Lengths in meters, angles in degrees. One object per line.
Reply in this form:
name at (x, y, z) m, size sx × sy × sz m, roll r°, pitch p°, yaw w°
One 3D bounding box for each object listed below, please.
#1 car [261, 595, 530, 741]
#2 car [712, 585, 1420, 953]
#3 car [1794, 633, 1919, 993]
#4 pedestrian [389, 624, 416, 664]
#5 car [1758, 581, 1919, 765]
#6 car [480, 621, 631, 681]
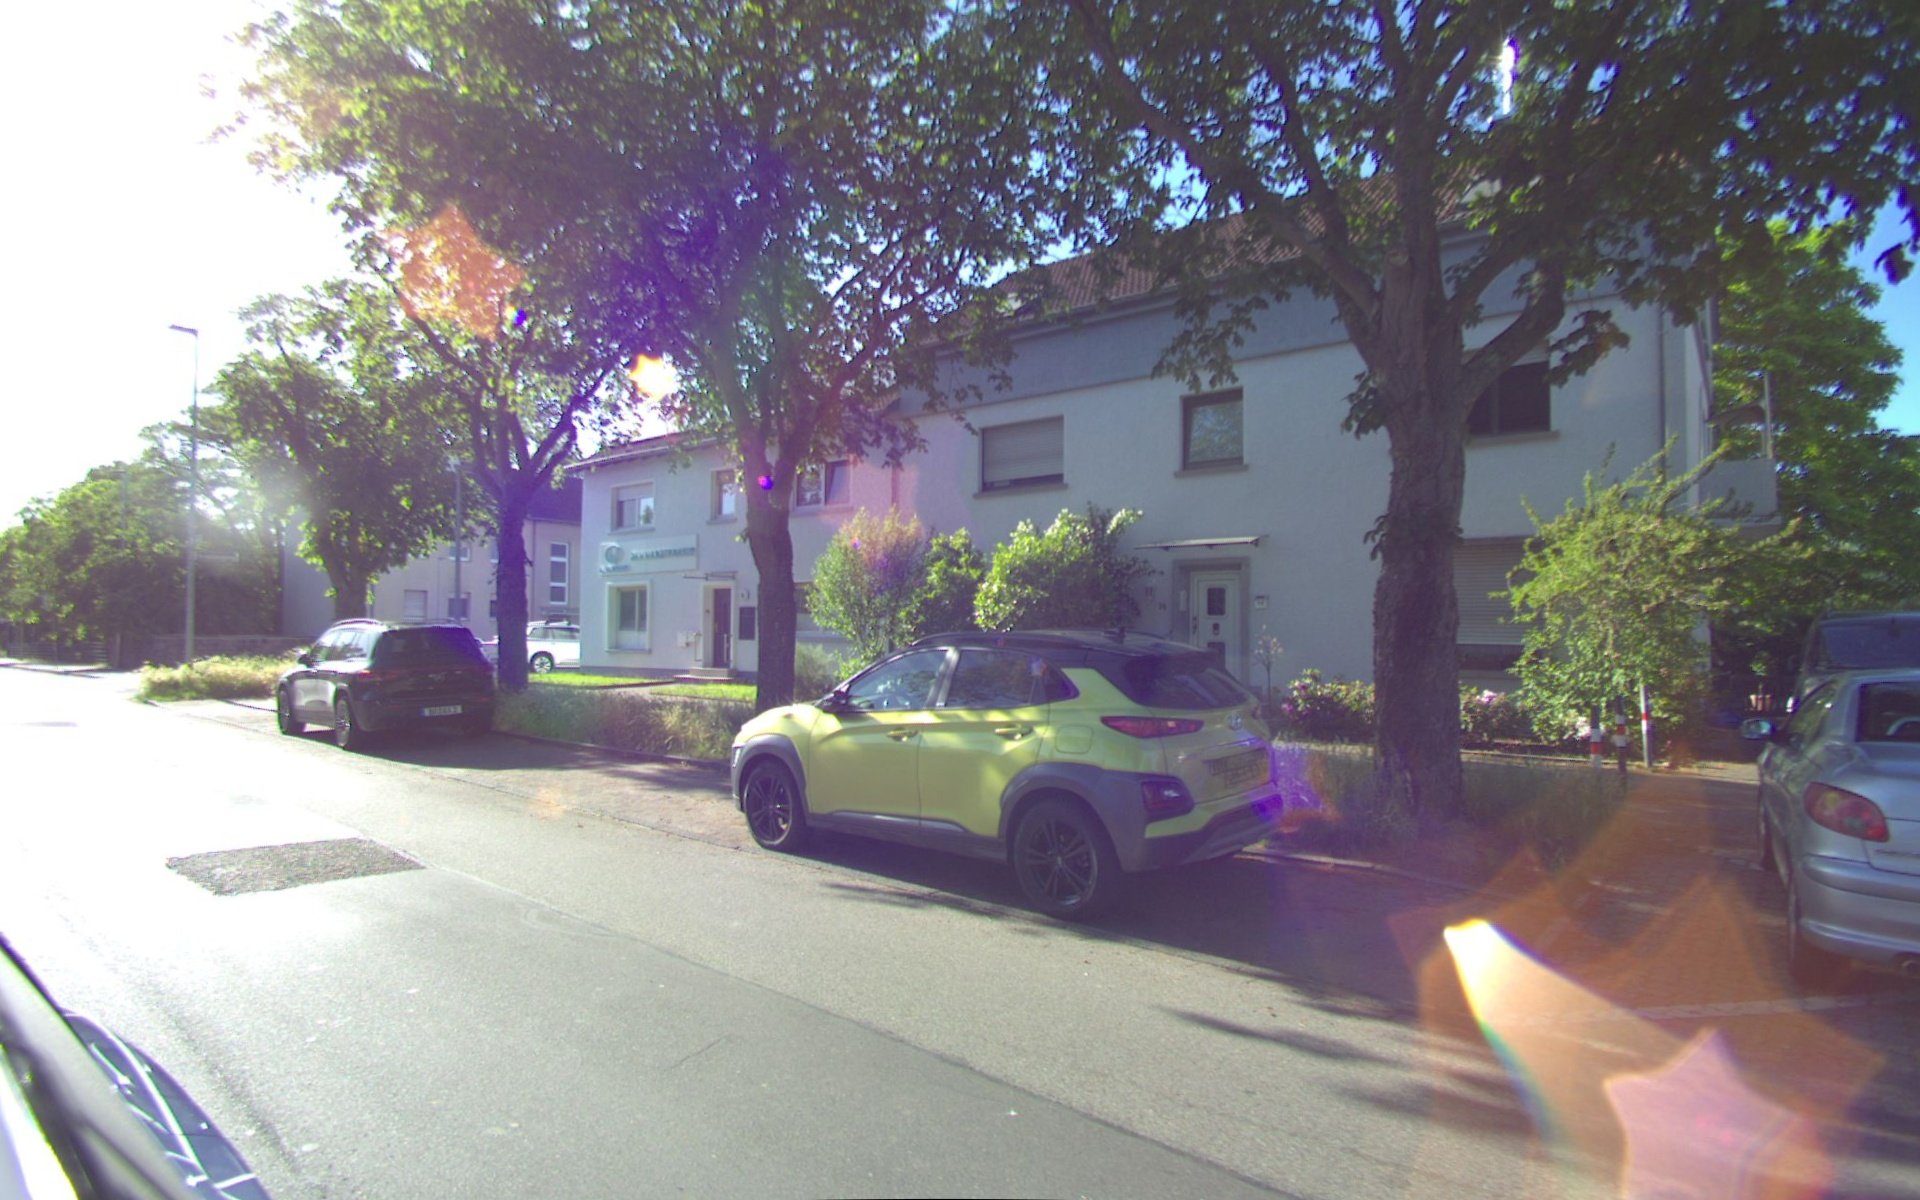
car at (-8.159, 0.899, 14.405) m, size 4.874 × 1.740 × 1.932 m, roll -3°, pitch -2°, yaw 43°
car at (0.427, 0.773, 6.675) m, size 4.383 × 1.621 × 1.918 m, roll -1°, pitch -1°, yaw 43°
car at (5.197, 0.834, 4.953) m, size 1.610 × 1.311 × 3.726 m, roll -4°, pitch -3°, yaw 40°
pedestrian at (-22.099, 1.753, 40.106) m, size 0.638 × 1.565 × 0.776 m, roll -4°, pitch -3°, yaw 38°
car at (10.288, 0.720, 11.238) m, size 1.996 × 1.727 × 4.195 m, roll -3°, pitch -3°, yaw 36°
car at (-13.872, 1.787, 34.890) m, size 1.997 × 1.852 × 4.445 m, roll -6°, pitch -6°, yaw 38°
